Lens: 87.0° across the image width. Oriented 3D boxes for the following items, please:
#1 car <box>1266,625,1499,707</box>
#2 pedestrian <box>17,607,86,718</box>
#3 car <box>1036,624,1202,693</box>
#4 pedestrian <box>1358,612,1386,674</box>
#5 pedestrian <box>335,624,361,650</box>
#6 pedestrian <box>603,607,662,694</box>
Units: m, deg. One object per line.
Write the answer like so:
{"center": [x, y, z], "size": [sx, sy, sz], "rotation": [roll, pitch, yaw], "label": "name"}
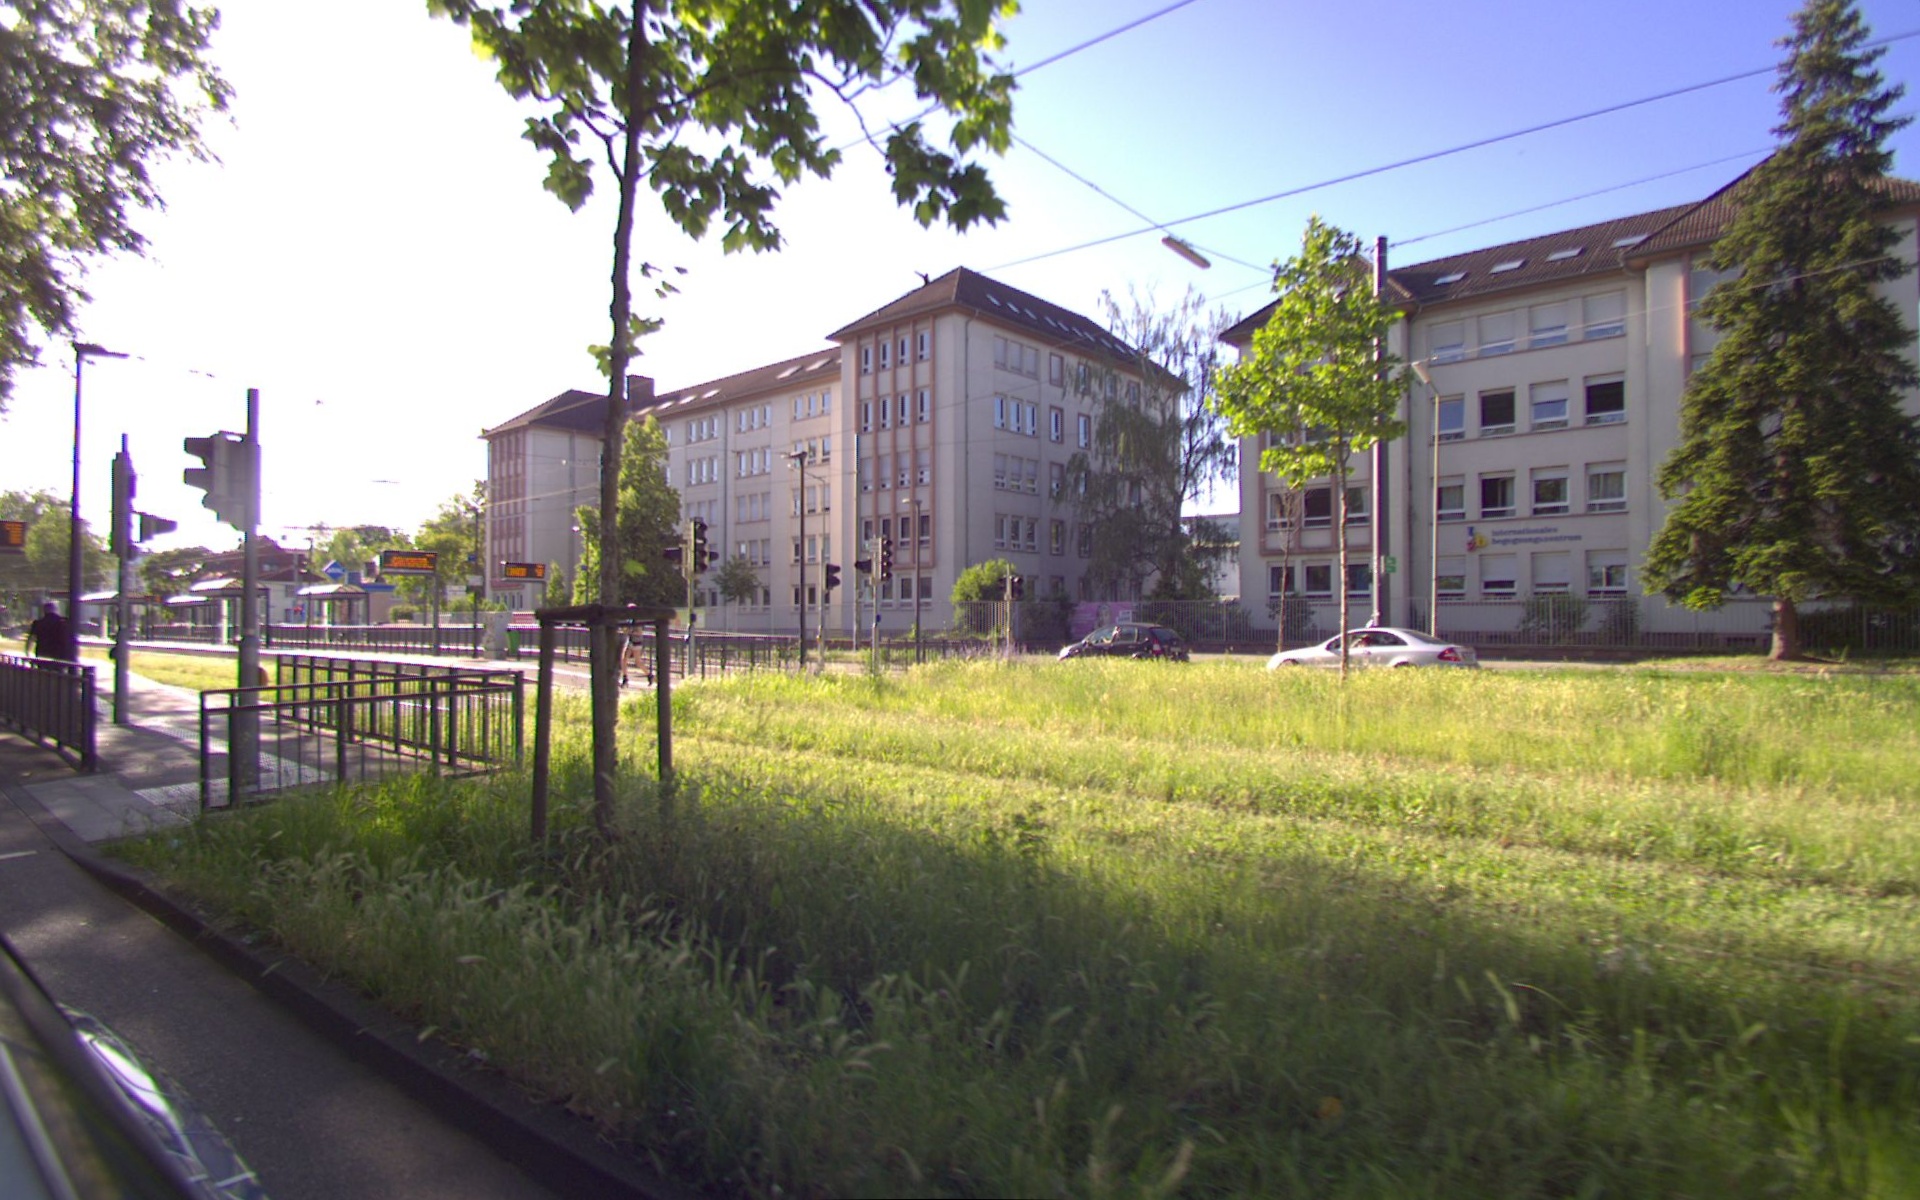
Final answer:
{"center": [9.331, 1.412, 22.653], "size": [1.744, 1.635, 4.480], "rotation": [1, -2, -43], "label": "car"}
{"center": [-14.390, 0.970, 16.033], "size": [0.772, 1.693, 0.705], "rotation": [-2, -1, 40], "label": "pedestrian"}
{"center": [4.313, 1.558, 27.818], "size": [4.151, 1.720, 1.971], "rotation": [-2, -2, 45], "label": "car"}
{"center": [12.547, 1.295, 30.816], "size": [0.572, 1.851, 0.685], "rotation": [-2, -2, 40], "label": "pedestrian"}
{"center": [-32.953, 1.985, 54.503], "size": [0.878, 1.386, 0.965], "rotation": [-2, -2, 40], "label": "pedestrian"}
{"center": [-6.765, 1.029, 20.920], "size": [0.730, 1.749, 0.942], "rotation": [-3, -3, 43], "label": "pedestrian"}
